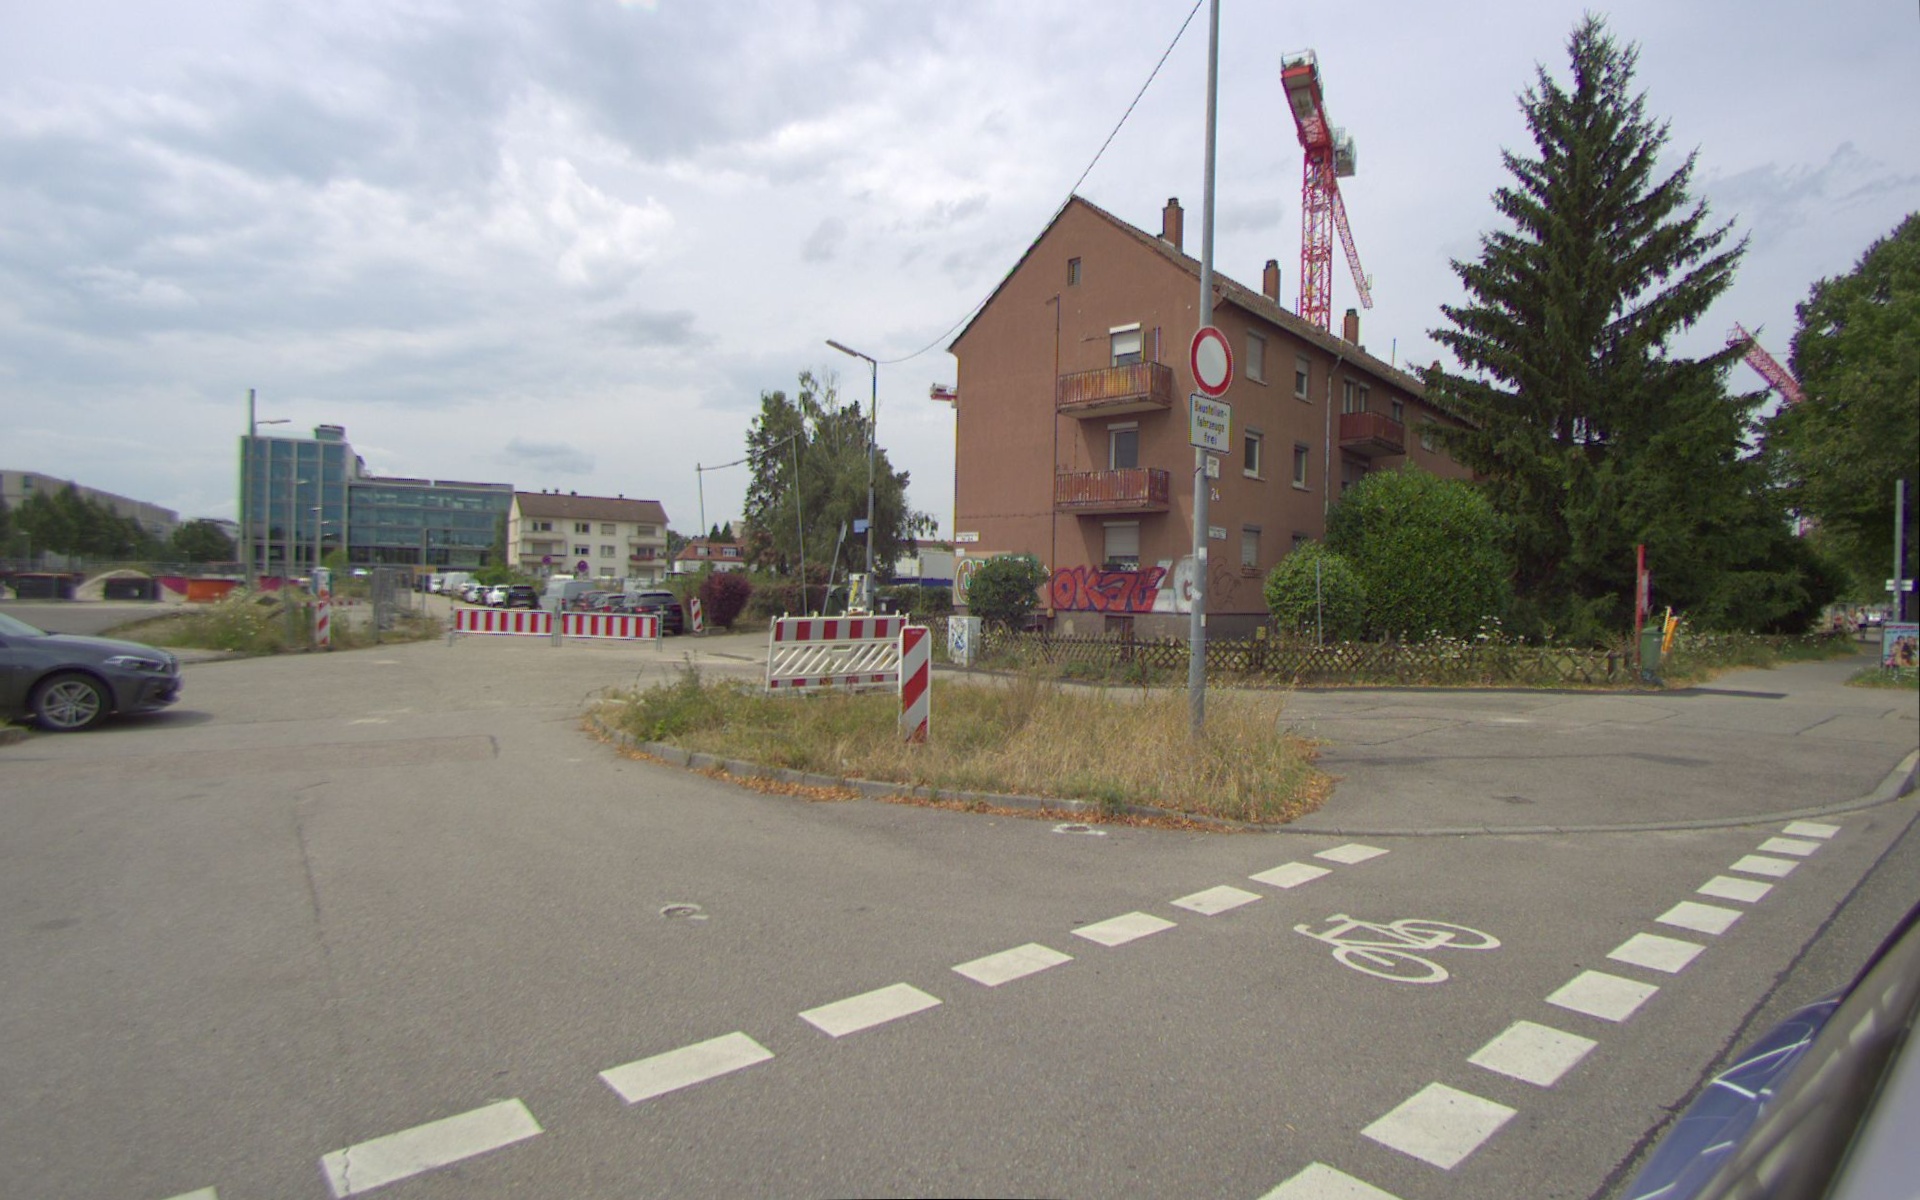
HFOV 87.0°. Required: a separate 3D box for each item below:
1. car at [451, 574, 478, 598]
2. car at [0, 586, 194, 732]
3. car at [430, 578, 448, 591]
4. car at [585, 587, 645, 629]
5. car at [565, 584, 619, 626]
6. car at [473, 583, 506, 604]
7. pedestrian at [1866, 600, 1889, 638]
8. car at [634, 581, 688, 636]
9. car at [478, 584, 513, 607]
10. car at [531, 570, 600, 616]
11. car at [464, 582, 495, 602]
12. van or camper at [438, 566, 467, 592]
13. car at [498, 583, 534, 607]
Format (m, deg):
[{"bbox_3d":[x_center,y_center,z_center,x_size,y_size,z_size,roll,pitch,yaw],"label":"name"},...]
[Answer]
[{"bbox_3d":[-45.861,-1.295,93.673,1.852,2.126,4.017,1,0,-31],"label":"car"},{"bbox_3d":[-10.893,0.591,10.843,4.177,1.492,1.767,1,0,-35],"label":"car"},{"bbox_3d":[-64.637,-1.922,125.525,1.820,1.554,4.017,1,0,-31],"label":"car"},{"bbox_3d":[-14.159,0.308,41.412,1.765,1.622,4.020,1,0,-26],"label":"car"},{"bbox_3d":[-16.702,0.206,45.848,1.819,1.771,4.020,1,0,-27],"label":"car"},{"bbox_3d":[-35.586,-0.492,76.543,1.820,1.554,4.017,1,0,-31],"label":"car"},{"bbox_3d":[49.230,1.018,54.291,0.852,2.039,0.721,1,0,40],"label":"pedestrian"},{"bbox_3d":[-10.968,0.266,37.011,1.764,1.872,4.009,1,0,-17],"label":"car"},{"bbox_3d":[-33.039,-0.354,71.877,1.820,1.554,4.017,1,0,-31],"label":"car"},{"bbox_3d":[-19.776,-0.357,50.633,2.106,2.163,4.910,1,0,-35],"label":"car"},{"bbox_3d":[-38.457,-0.658,80.966,1.820,1.554,4.017,1,0,-31],"label":"car"},{"bbox_3d":[-54.948,-2.238,109.510,2.306,2.722,5.248,1,0,-33],"label":"van or camper"},{"bbox_3d":[-28.810,-0.335,65.657,1.819,1.525,4.019,1,0,-28],"label":"car"}]
